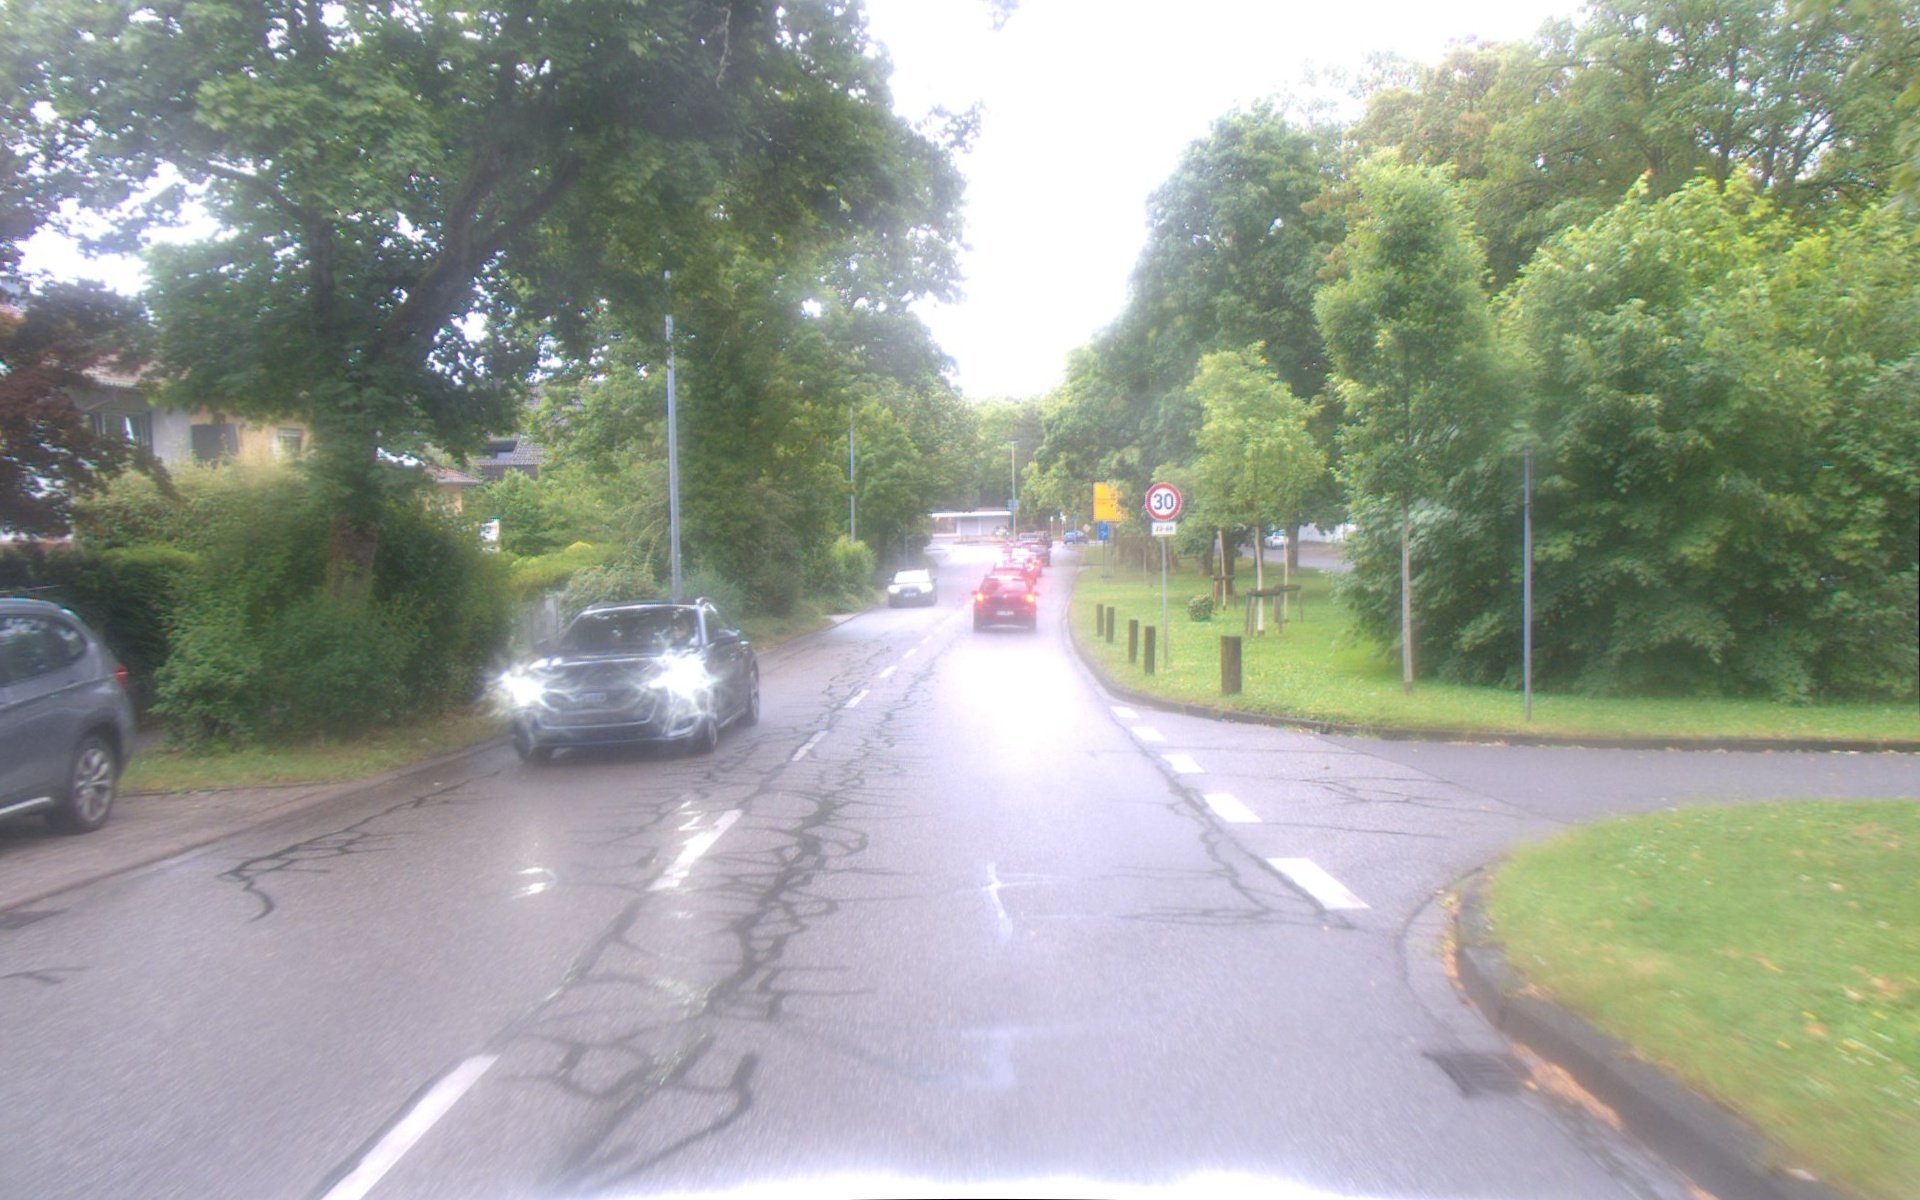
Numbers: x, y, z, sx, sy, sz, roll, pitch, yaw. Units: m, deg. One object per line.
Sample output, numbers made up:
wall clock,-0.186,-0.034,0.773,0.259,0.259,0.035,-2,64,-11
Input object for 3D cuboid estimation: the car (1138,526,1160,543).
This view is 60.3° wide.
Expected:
car,18.288,-6.331,160.219,1.766,1.409,4.003,-3,3,3

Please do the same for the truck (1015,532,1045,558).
truck,5.795,-4.633,137.899,2.366,2.039,5.154,-2,3,2

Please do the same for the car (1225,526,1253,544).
car,24.812,-5.790,147.127,1.765,1.435,4.115,-3,4,1

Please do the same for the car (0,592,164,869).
car,-6.441,0.771,9.562,1.629,1.569,4.283,2,1,-1

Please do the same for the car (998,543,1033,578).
car,3.129,-2.199,92.260,1.816,1.815,4.003,-1,2,4

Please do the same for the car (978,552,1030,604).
car,1.724,-0.867,63.633,1.816,1.815,4.003,-1,2,4

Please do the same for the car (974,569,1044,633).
car,1.378,-0.014,45.337,1.761,1.541,3.756,1,3,3

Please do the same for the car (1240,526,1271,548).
car,24.082,-5.175,135.004,1.765,1.555,4.115,-3,4,1

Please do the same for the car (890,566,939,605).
car,-1.802,-0.608,67.169,1.718,1.386,4.327,-3,2,1

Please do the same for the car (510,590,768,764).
car,-3.097,0.676,16.854,1.655,1.420,4.491,-4,0,0

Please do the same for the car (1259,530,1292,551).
car,24.247,-4.609,127.236,1.583,1.433,4.010,-3,4,-2
